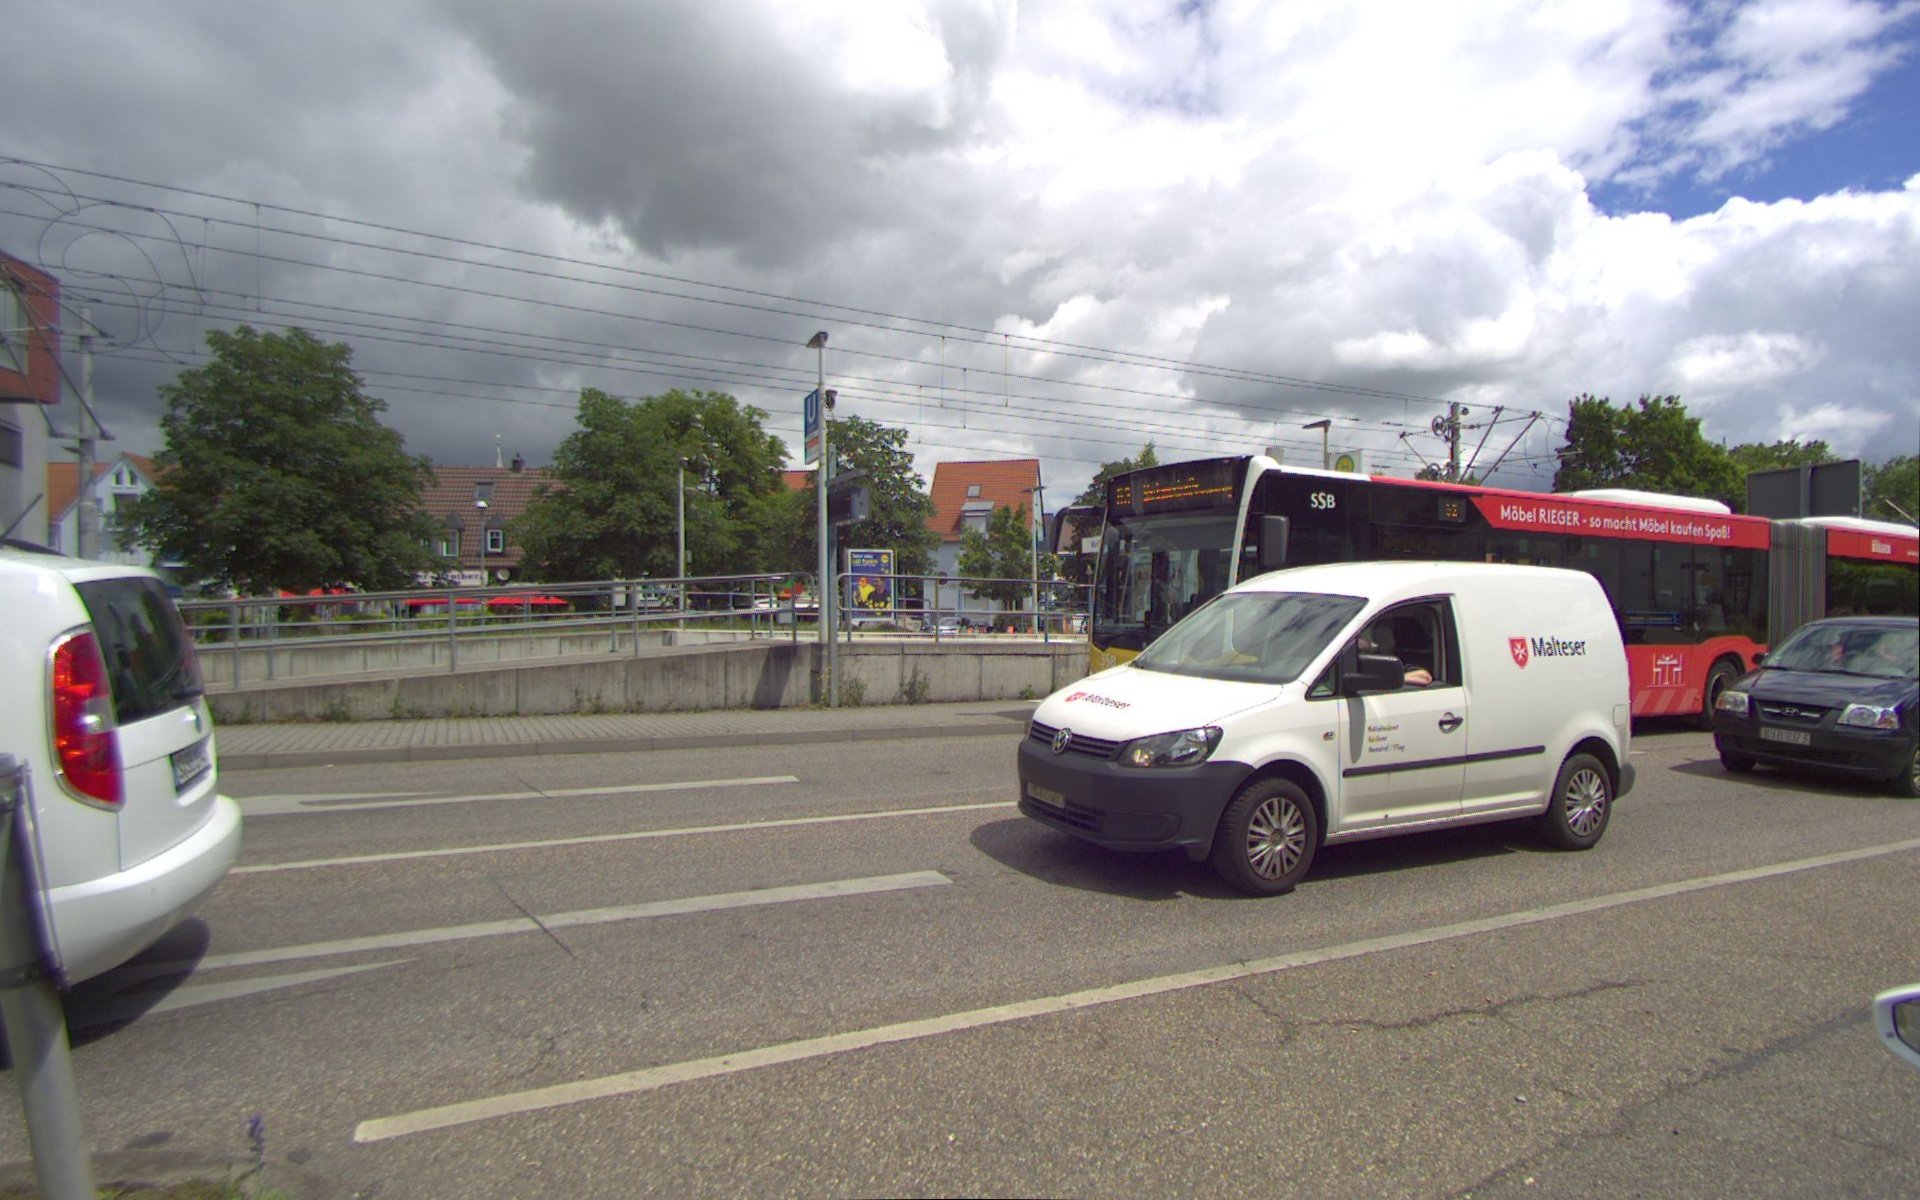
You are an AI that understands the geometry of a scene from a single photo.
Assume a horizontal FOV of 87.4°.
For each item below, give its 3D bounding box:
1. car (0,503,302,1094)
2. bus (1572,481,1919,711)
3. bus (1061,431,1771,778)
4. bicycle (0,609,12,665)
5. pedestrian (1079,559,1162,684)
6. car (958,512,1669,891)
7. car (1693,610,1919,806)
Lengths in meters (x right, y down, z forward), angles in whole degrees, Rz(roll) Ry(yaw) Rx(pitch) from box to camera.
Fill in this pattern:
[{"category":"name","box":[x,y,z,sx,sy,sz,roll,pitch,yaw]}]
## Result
[{"category":"car","box":[-4.446,0.536,2.914,4.025,1.671,1.693,1,0,-26]},{"category":"bus","box":[14.291,-0.089,16.817,8.847,3.111,2.716,-1,0,-27]},{"category":"bus","box":[6.036,0.005,12.530,9.578,3.151,2.716,-1,0,-27]},{"category":"bicycle","box":[-19.275,0.734,19.271,0.682,1.112,1.901,-1,-1,-13]},{"category":"pedestrian","box":[2.712,0.377,17.044,1.014,2.040,0.968,2,-1,-24]},{"category":"car","box":[2.357,0.530,6.345,4.452,1.684,1.754,2,-2,-30]},{"category":"car","box":[9.034,0.939,9.842,3.686,1.572,1.523,1,1,-28]}]
